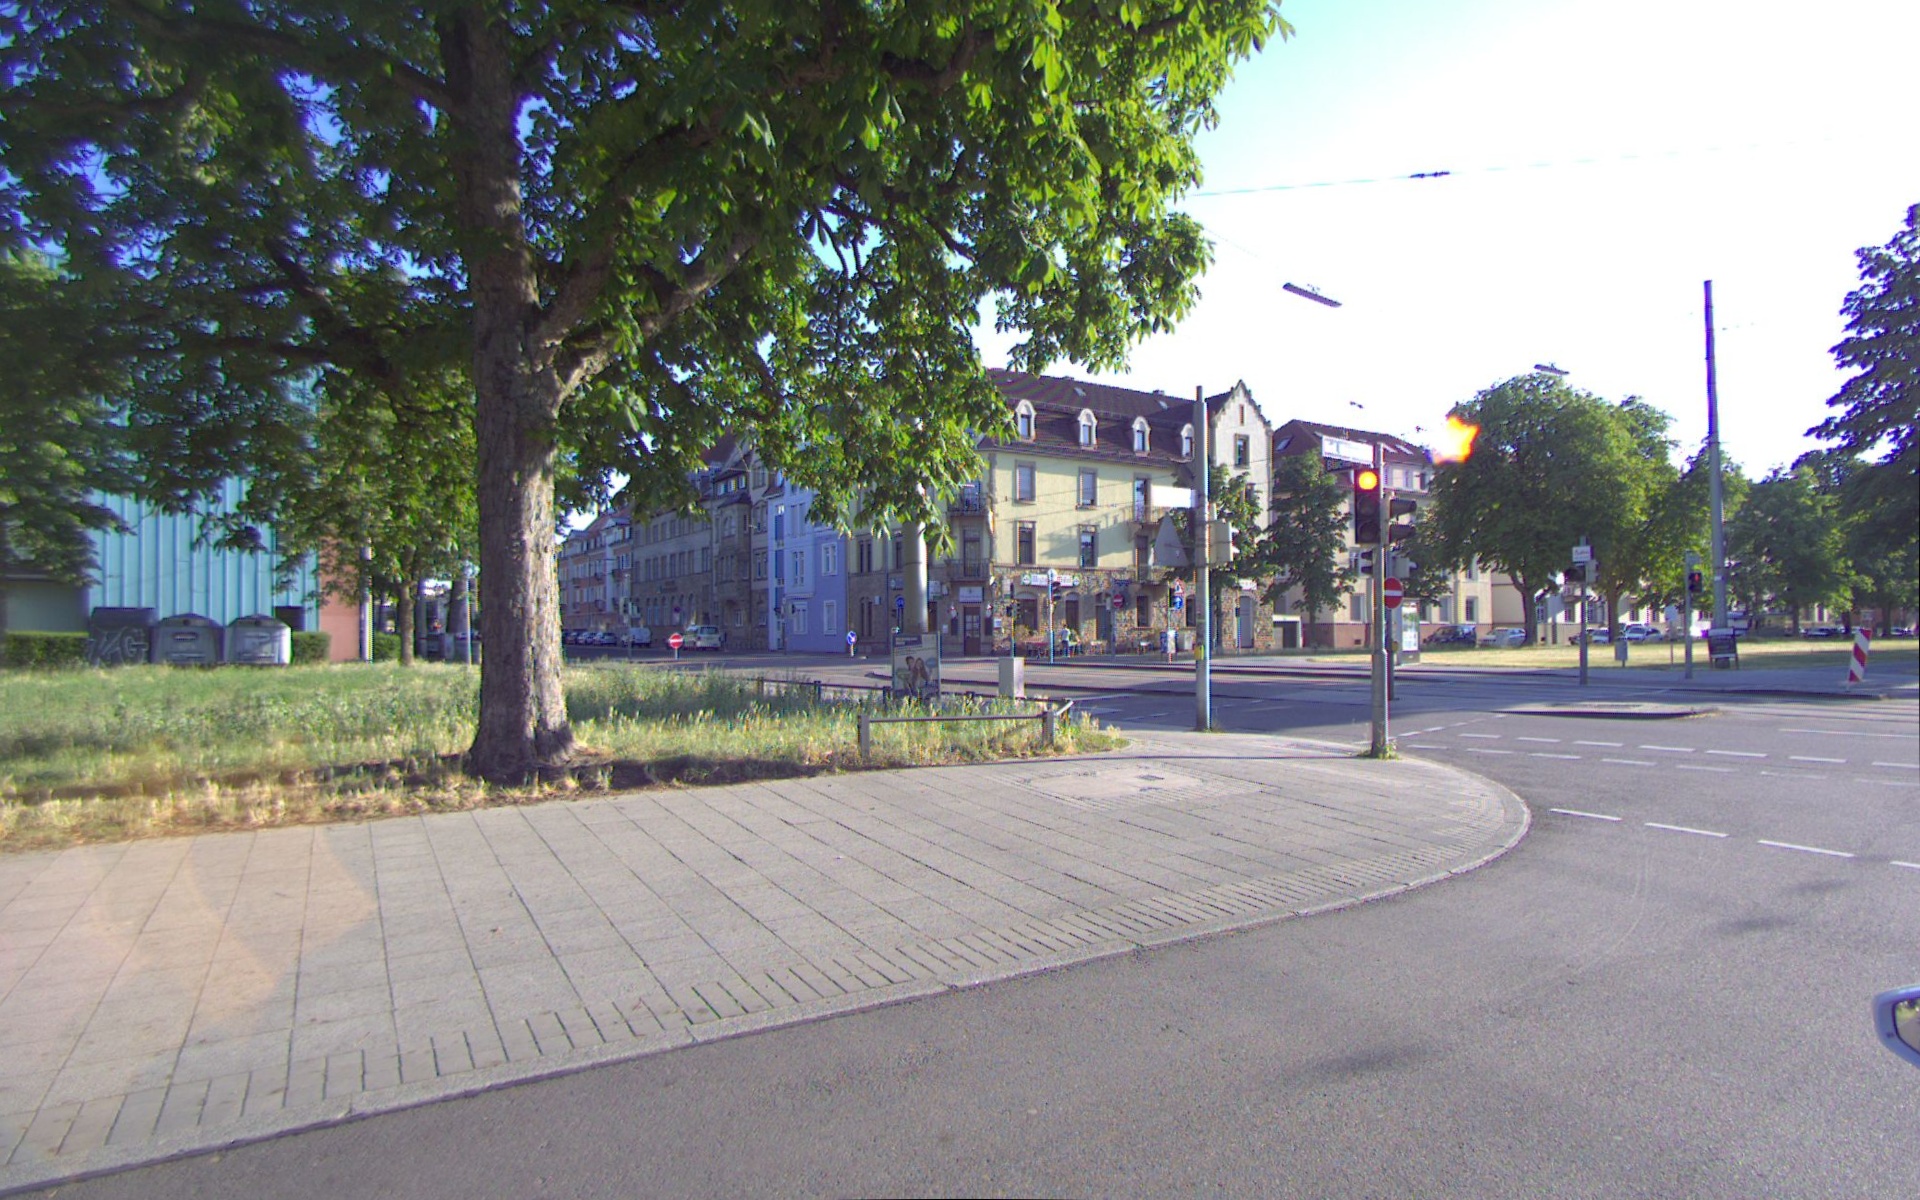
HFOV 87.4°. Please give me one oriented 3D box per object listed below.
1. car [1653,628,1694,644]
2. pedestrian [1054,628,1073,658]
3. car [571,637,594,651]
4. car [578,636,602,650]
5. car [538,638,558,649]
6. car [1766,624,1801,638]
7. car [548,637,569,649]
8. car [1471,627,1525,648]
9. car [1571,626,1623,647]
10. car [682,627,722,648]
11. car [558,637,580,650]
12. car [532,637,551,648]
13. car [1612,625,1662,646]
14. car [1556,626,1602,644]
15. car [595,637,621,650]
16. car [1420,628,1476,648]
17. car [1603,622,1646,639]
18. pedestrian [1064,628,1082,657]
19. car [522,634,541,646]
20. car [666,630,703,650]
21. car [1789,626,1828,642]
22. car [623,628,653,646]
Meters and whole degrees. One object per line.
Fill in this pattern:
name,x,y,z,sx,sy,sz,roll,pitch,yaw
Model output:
car,65.839,3.268,92.719,3.749,1.446,1.729,1,-2,-31
pedestrian,5.784,2.389,56.192,0.803,1.664,0.722,0,-1,-21
car,-42.646,4.965,113.514,1.867,1.433,4.013,1,-2,-29
car,-39.908,4.673,108.394,1.867,1.433,4.013,1,-2,-29
car,-52.116,5.484,127.047,1.867,1.433,4.013,1,-2,-29
car,86.166,3.238,105.120,3.749,1.446,1.729,1,-1,-31
car,-48.957,5.201,122.376,1.867,1.433,4.013,1,-2,-29
car,40.806,2.802,76.244,3.741,1.446,1.733,-1,0,-26
car,46.258,2.628,72.921,3.749,1.446,1.729,0,-1,-31
car,-20.131,2.922,78.393,2.074,1.612,4.014,2,-2,-29
car,-45.923,5.115,117.865,1.867,1.433,4.013,1,-2,-29
car,-54.661,5.563,131.096,1.867,1.433,4.013,1,-2,-29
car,51.348,2.708,76.142,3.748,1.446,1.729,-1,-1,-31
car,51.991,2.913,84.363,3.749,1.446,1.729,1,-2,-31
car,-36.451,4.476,103.871,1.867,1.299,4.013,1,-2,-29
car,35.428,2.750,72.876,3.741,1.416,1.733,1,-2,-26
car,57.476,2.625,86.885,3.749,1.446,1.729,1,-2,-31
pedestrian,6.437,2.417,57.238,0.715,1.664,0.811,0,-1,-23
car,-57.591,5.358,134.903,1.867,1.433,4.013,1,-2,-29
car,-22.814,3.318,83.110,2.074,1.612,4.014,2,-2,-29
car,80.205,3.212,94.965,3.749,1.446,1.729,1,-1,-31
car,-30.163,3.490,94.076,1.888,1.610,4.013,2,-2,-29
